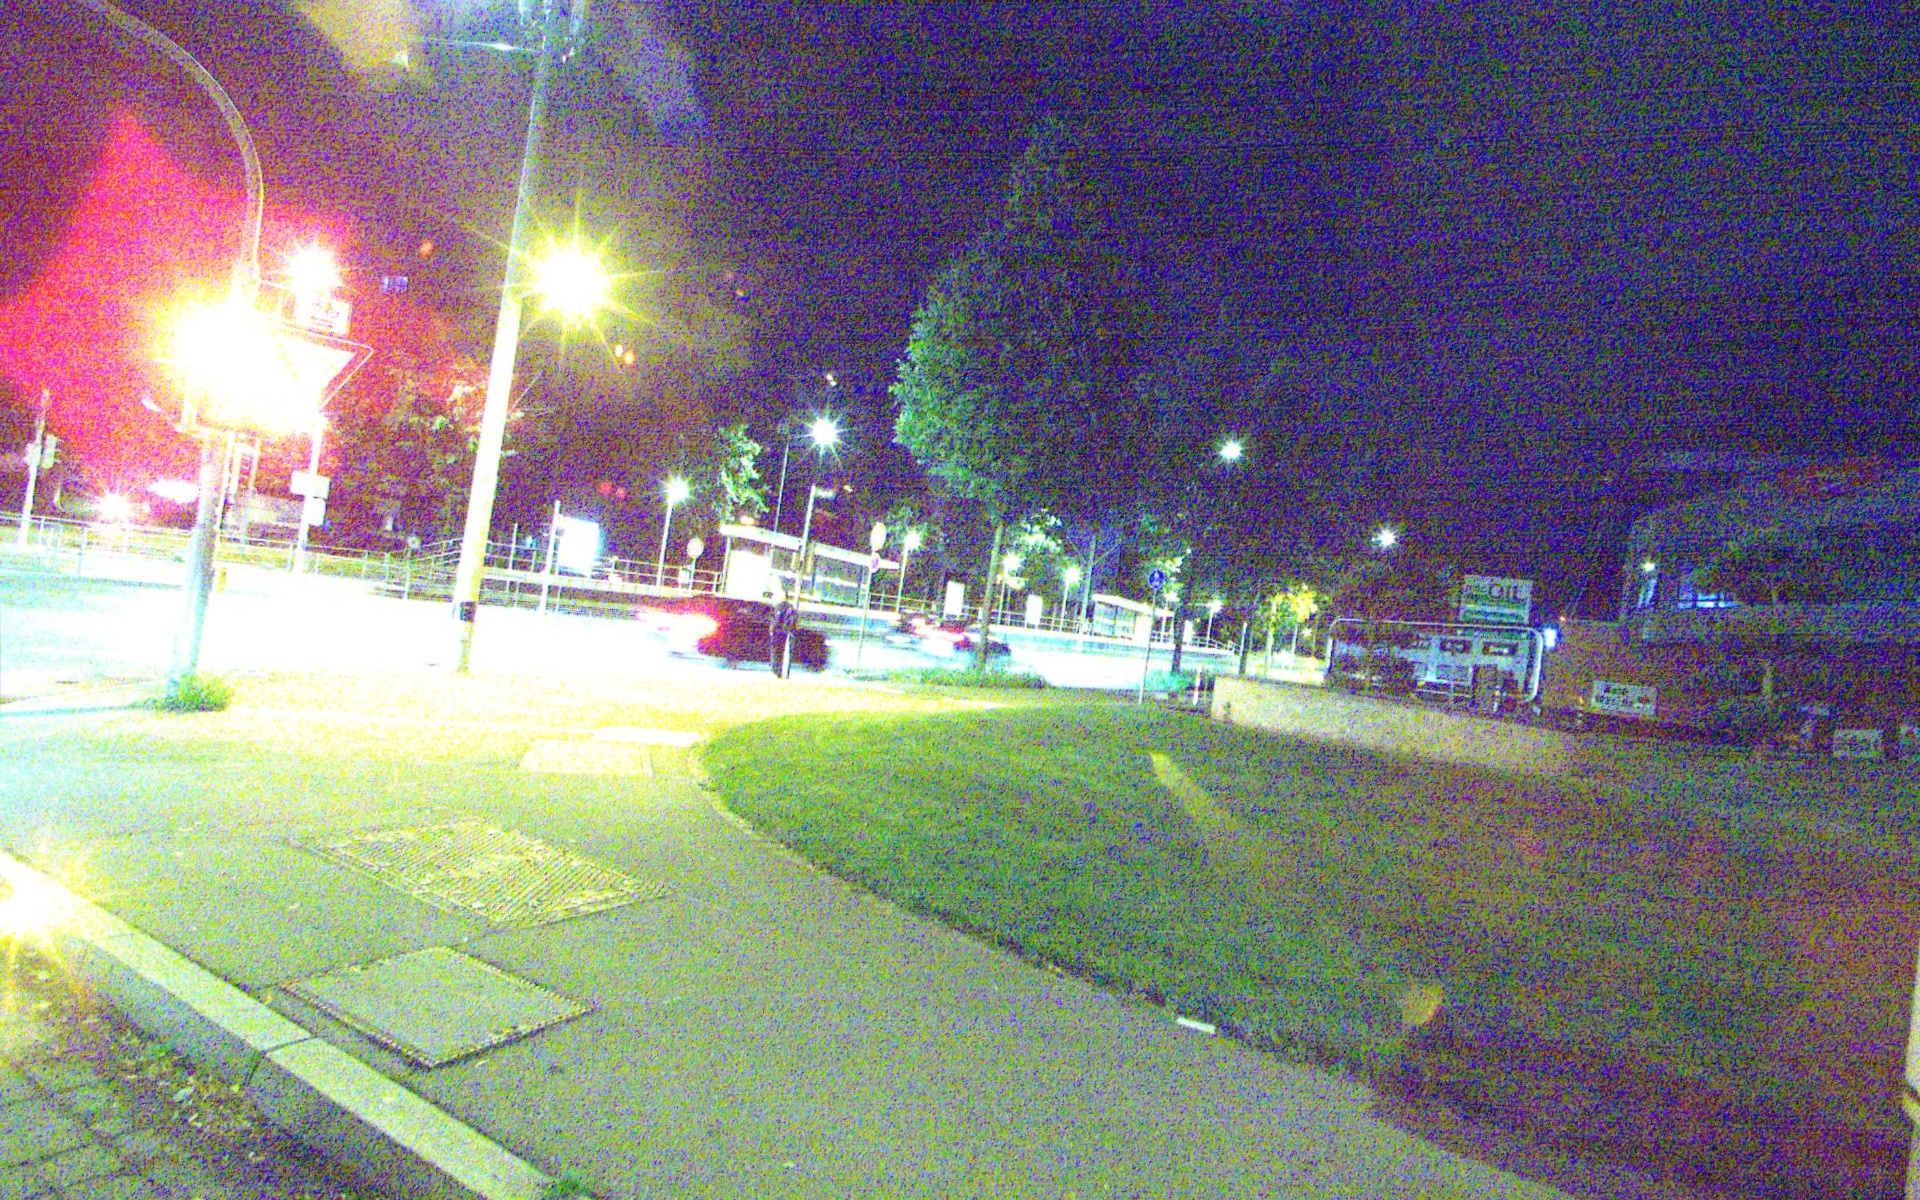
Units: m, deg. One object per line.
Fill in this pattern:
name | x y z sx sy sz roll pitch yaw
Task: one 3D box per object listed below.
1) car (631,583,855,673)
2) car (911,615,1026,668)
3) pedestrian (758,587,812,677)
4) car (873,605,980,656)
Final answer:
car | -4.683 0.691 22.463 1.717 1.491 4.924 8 -1 35
car | 0.384 1.527 36.167 1.717 1.438 4.572 10 2 35
pedestrian | -3.405 0.615 19.579 0.867 1.677 0.835 2 1 -18
car | -1.262 1.222 39.575 1.719 1.437 4.248 9 0 39
